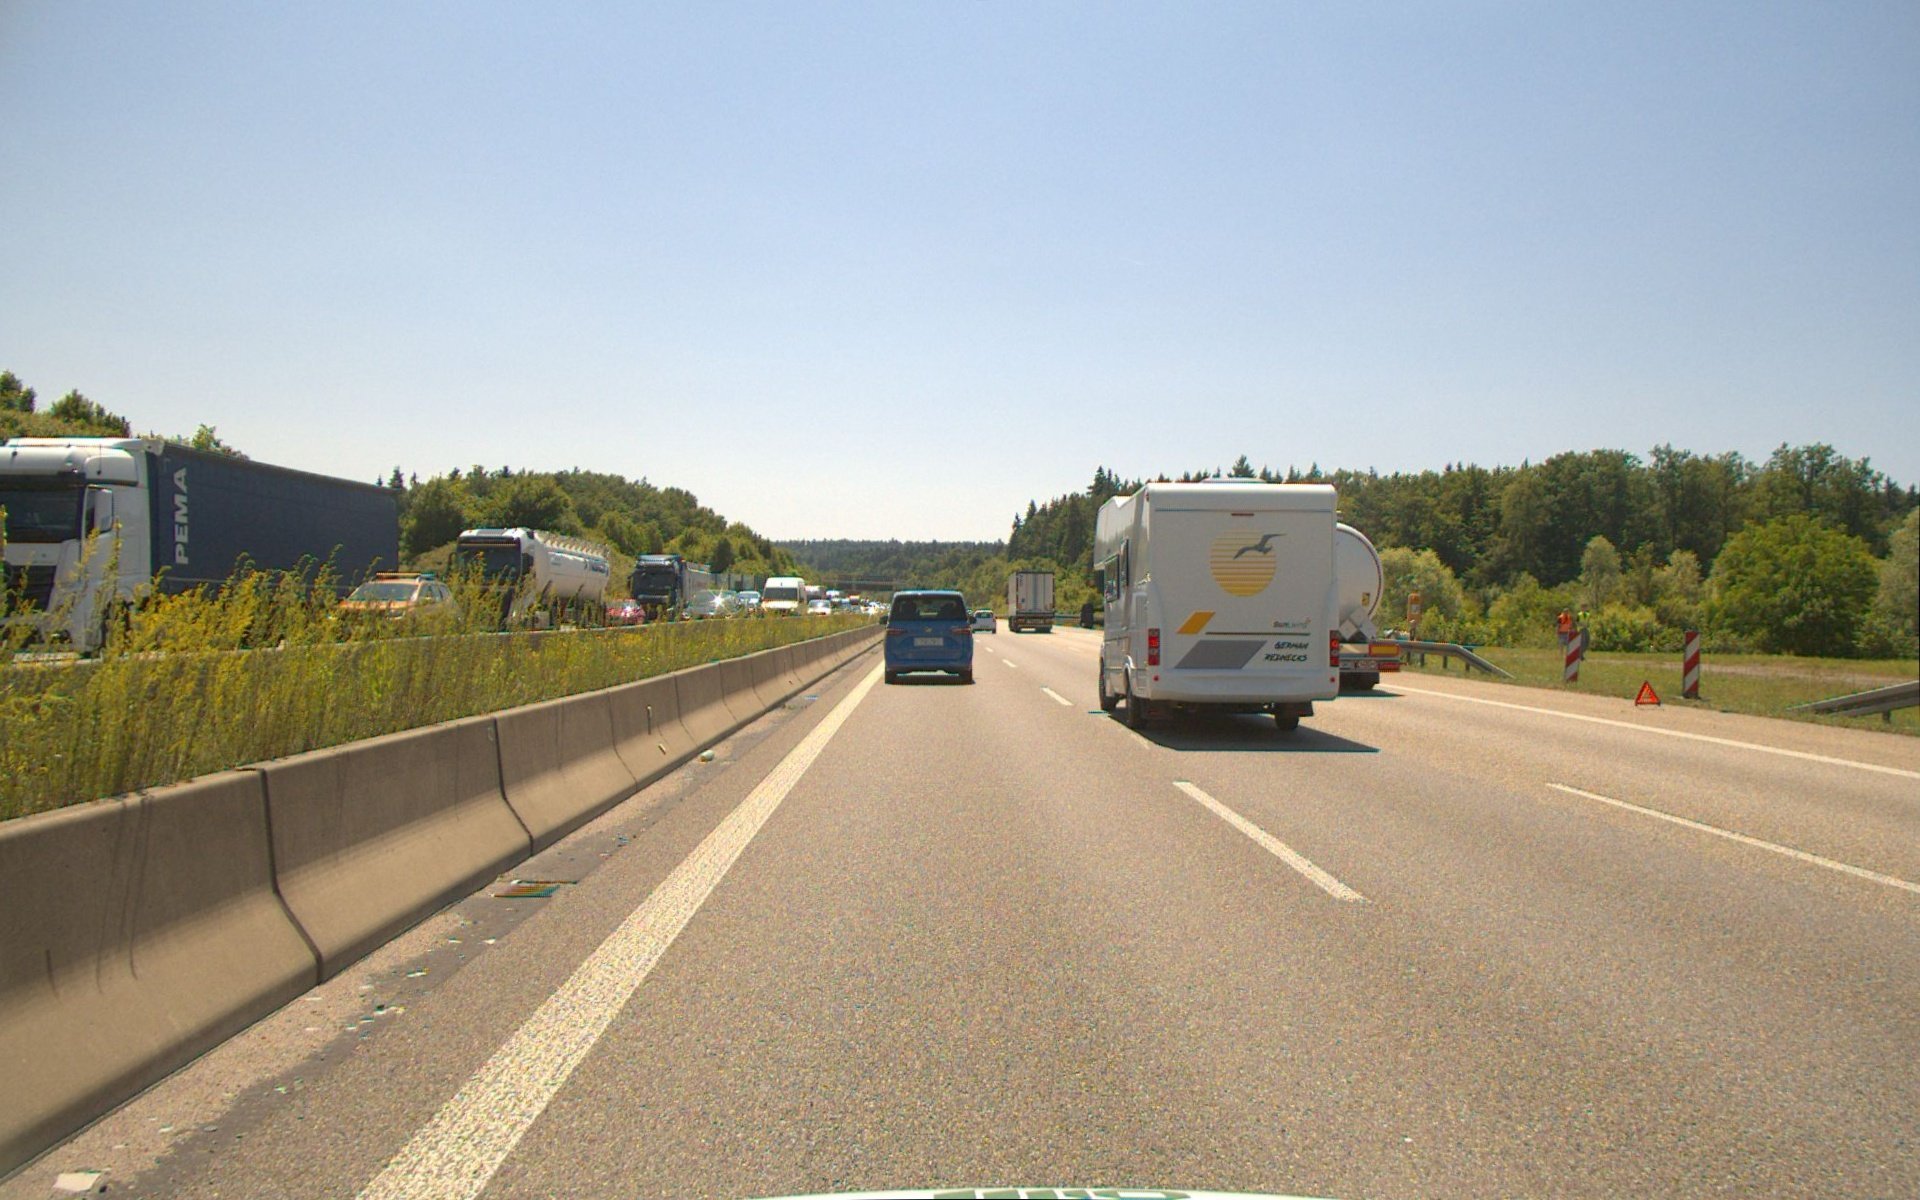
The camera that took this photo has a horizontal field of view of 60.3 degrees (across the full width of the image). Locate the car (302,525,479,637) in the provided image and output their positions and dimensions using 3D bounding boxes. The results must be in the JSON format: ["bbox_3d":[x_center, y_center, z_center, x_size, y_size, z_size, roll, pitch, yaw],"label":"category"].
[{"bbox_3d":[-11.891,-0.335,34.943,2.044,2.099,5.056,2,-1,-2],"label":"car"}]

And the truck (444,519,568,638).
[{"bbox_3d":[-16.061,-0.668,58.924,2.638,3.947,6.315,2,-1,-1],"label":"truck"}]

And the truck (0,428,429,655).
[{"bbox_3d":[-16.365,-1.041,38.260,3.506,4.165,15.002,1,0,-1],"label":"truck"}]

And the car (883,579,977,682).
[{"bbox_3d":[-0.652,0.664,35.650,1.870,2.049,3.999,1,-1,-1],"label":"car"}]

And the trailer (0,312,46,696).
[{"bbox_3d":[-11.180,-0.983,12.325,2.625,4.019,11.641,0,0,-2],"label":"trailer"}]

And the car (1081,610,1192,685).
[{"bbox_3d":[3.742,1.002,35.713,1.870,1.501,3.999,1,-1,-1],"label":"car"}]

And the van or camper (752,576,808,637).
[{"bbox_3d":[-9.229,0.391,85.432,1.953,2.927,7.639,4,-1,-1],"label":"van or camper"}]

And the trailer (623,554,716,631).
[{"bbox_3d":[-16.928,-0.378,97.280,3.506,4.165,11.534,1,0,-1],"label":"trailer"}]

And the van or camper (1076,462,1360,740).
[{"bbox_3d":[3.195,-0.020,22.468,2.550,3.132,7.180,1,1,-1],"label":"van or camper"}]

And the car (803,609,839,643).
[{"bbox_3d":[-9.258,1.745,110.447,1.953,2.049,5.162,4,-1,-1],"label":"car"}]

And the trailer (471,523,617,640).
[{"bbox_3d":[-16.268,-0.554,65.866,2.626,4.019,13.238,4,-1,-2],"label":"trailer"}]

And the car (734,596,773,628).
[{"bbox_3d":[-12.462,0.764,100.035,1.760,1.866,5.744,0,-1,-1],"label":"car"}]

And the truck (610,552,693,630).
[{"bbox_3d":[-16.803,-0.402,90.553,3.385,3.945,5.443,3,-1,-1],"label":"truck"}]

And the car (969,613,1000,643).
[{"bbox_3d":[1.575,1.813,108.560,1.781,1.825,3.893,4,-1,-1],"label":"car"}]

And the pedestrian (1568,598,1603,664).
[{"bbox_3d":[20.370,1.012,53.879,0.674,2.116,0.928,4,-1,-1],"label":"pedestrian"}]

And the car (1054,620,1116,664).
[{"bbox_3d":[4.520,1.520,60.497,1.870,1.501,3.999,1,-1,-1],"label":"car"}]

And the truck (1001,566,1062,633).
[{"bbox_3d":[4.802,0.039,113.277,3.417,4.243,8.638,4,-1,-1],"label":"truck"}]

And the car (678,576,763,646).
[{"bbox_3d":[-7.987,0.397,55.663,2.043,2.099,5.057,4,-1,-1],"label":"car"}]

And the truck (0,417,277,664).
[{"bbox_3d":[-16.233,-0.947,30.980,3.438,3.978,8.143,2,-1,-1],"label":"truck"}]

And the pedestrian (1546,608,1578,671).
[{"bbox_3d":[20.657,1.343,56.770,0.674,2.116,0.928,4,-1,-1],"label":"pedestrian"}]

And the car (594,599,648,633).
[{"bbox_3d":[-16.439,0.791,80.400,1.760,1.565,4.583,0,-1,-1],"label":"car"}]

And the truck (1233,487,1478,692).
[{"bbox_3d":[7.918,-0.200,34.413,2.868,3.637,8.524,2,0,-1],"label":"truck"}]
